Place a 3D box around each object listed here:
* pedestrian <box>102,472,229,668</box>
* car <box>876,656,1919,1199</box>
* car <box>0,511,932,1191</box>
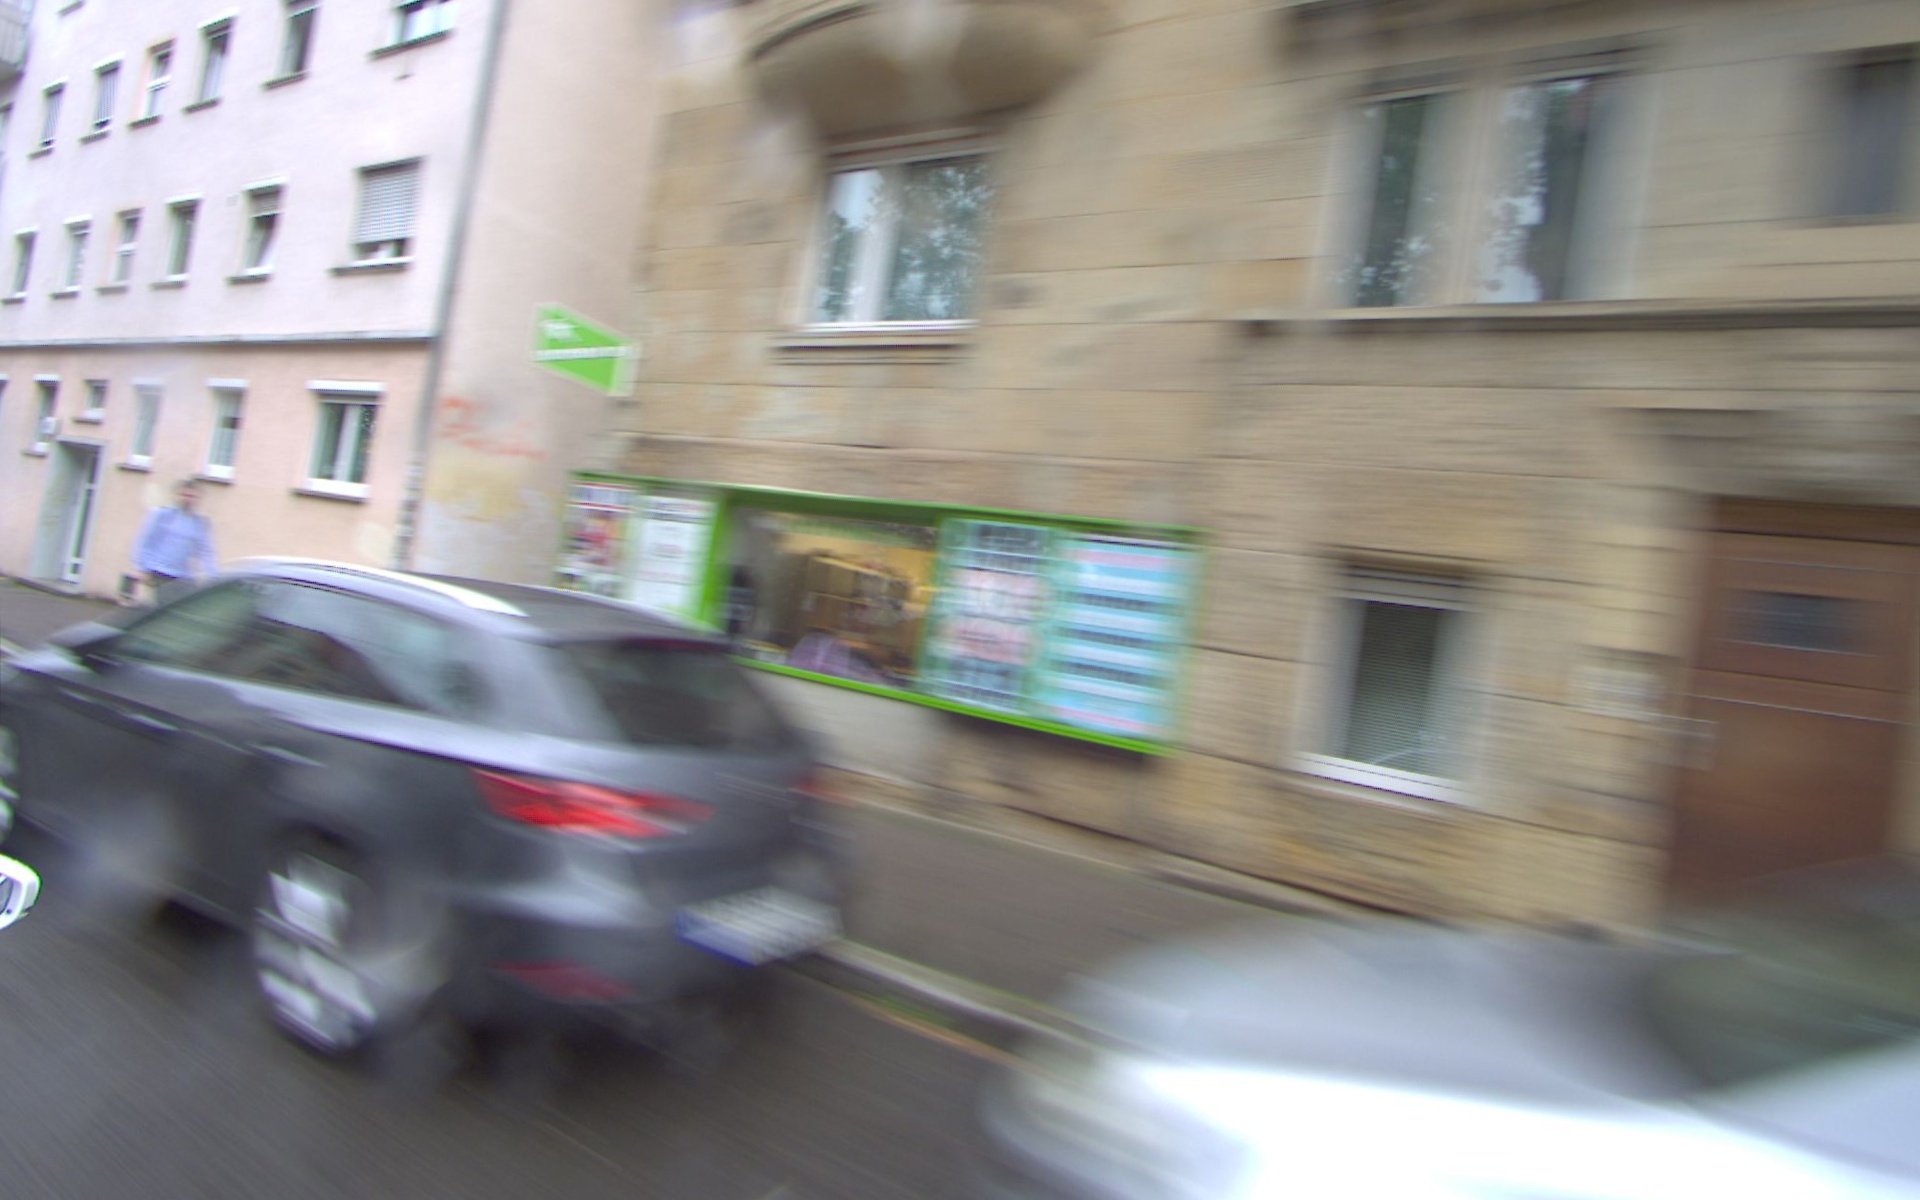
[{"bbox_3d":[-7.664,-0.280,9.712,0.677,1.785,0.608,7,0,31],"label":"pedestrian"},{"bbox_3d":[1.954,1.092,1.480,3.889,1.451,1.671,7,-1,31],"label":"car"},{"bbox_3d":[-2.423,0.579,4.219,4.239,1.426,1.674,7,-2,30],"label":"car"}]
